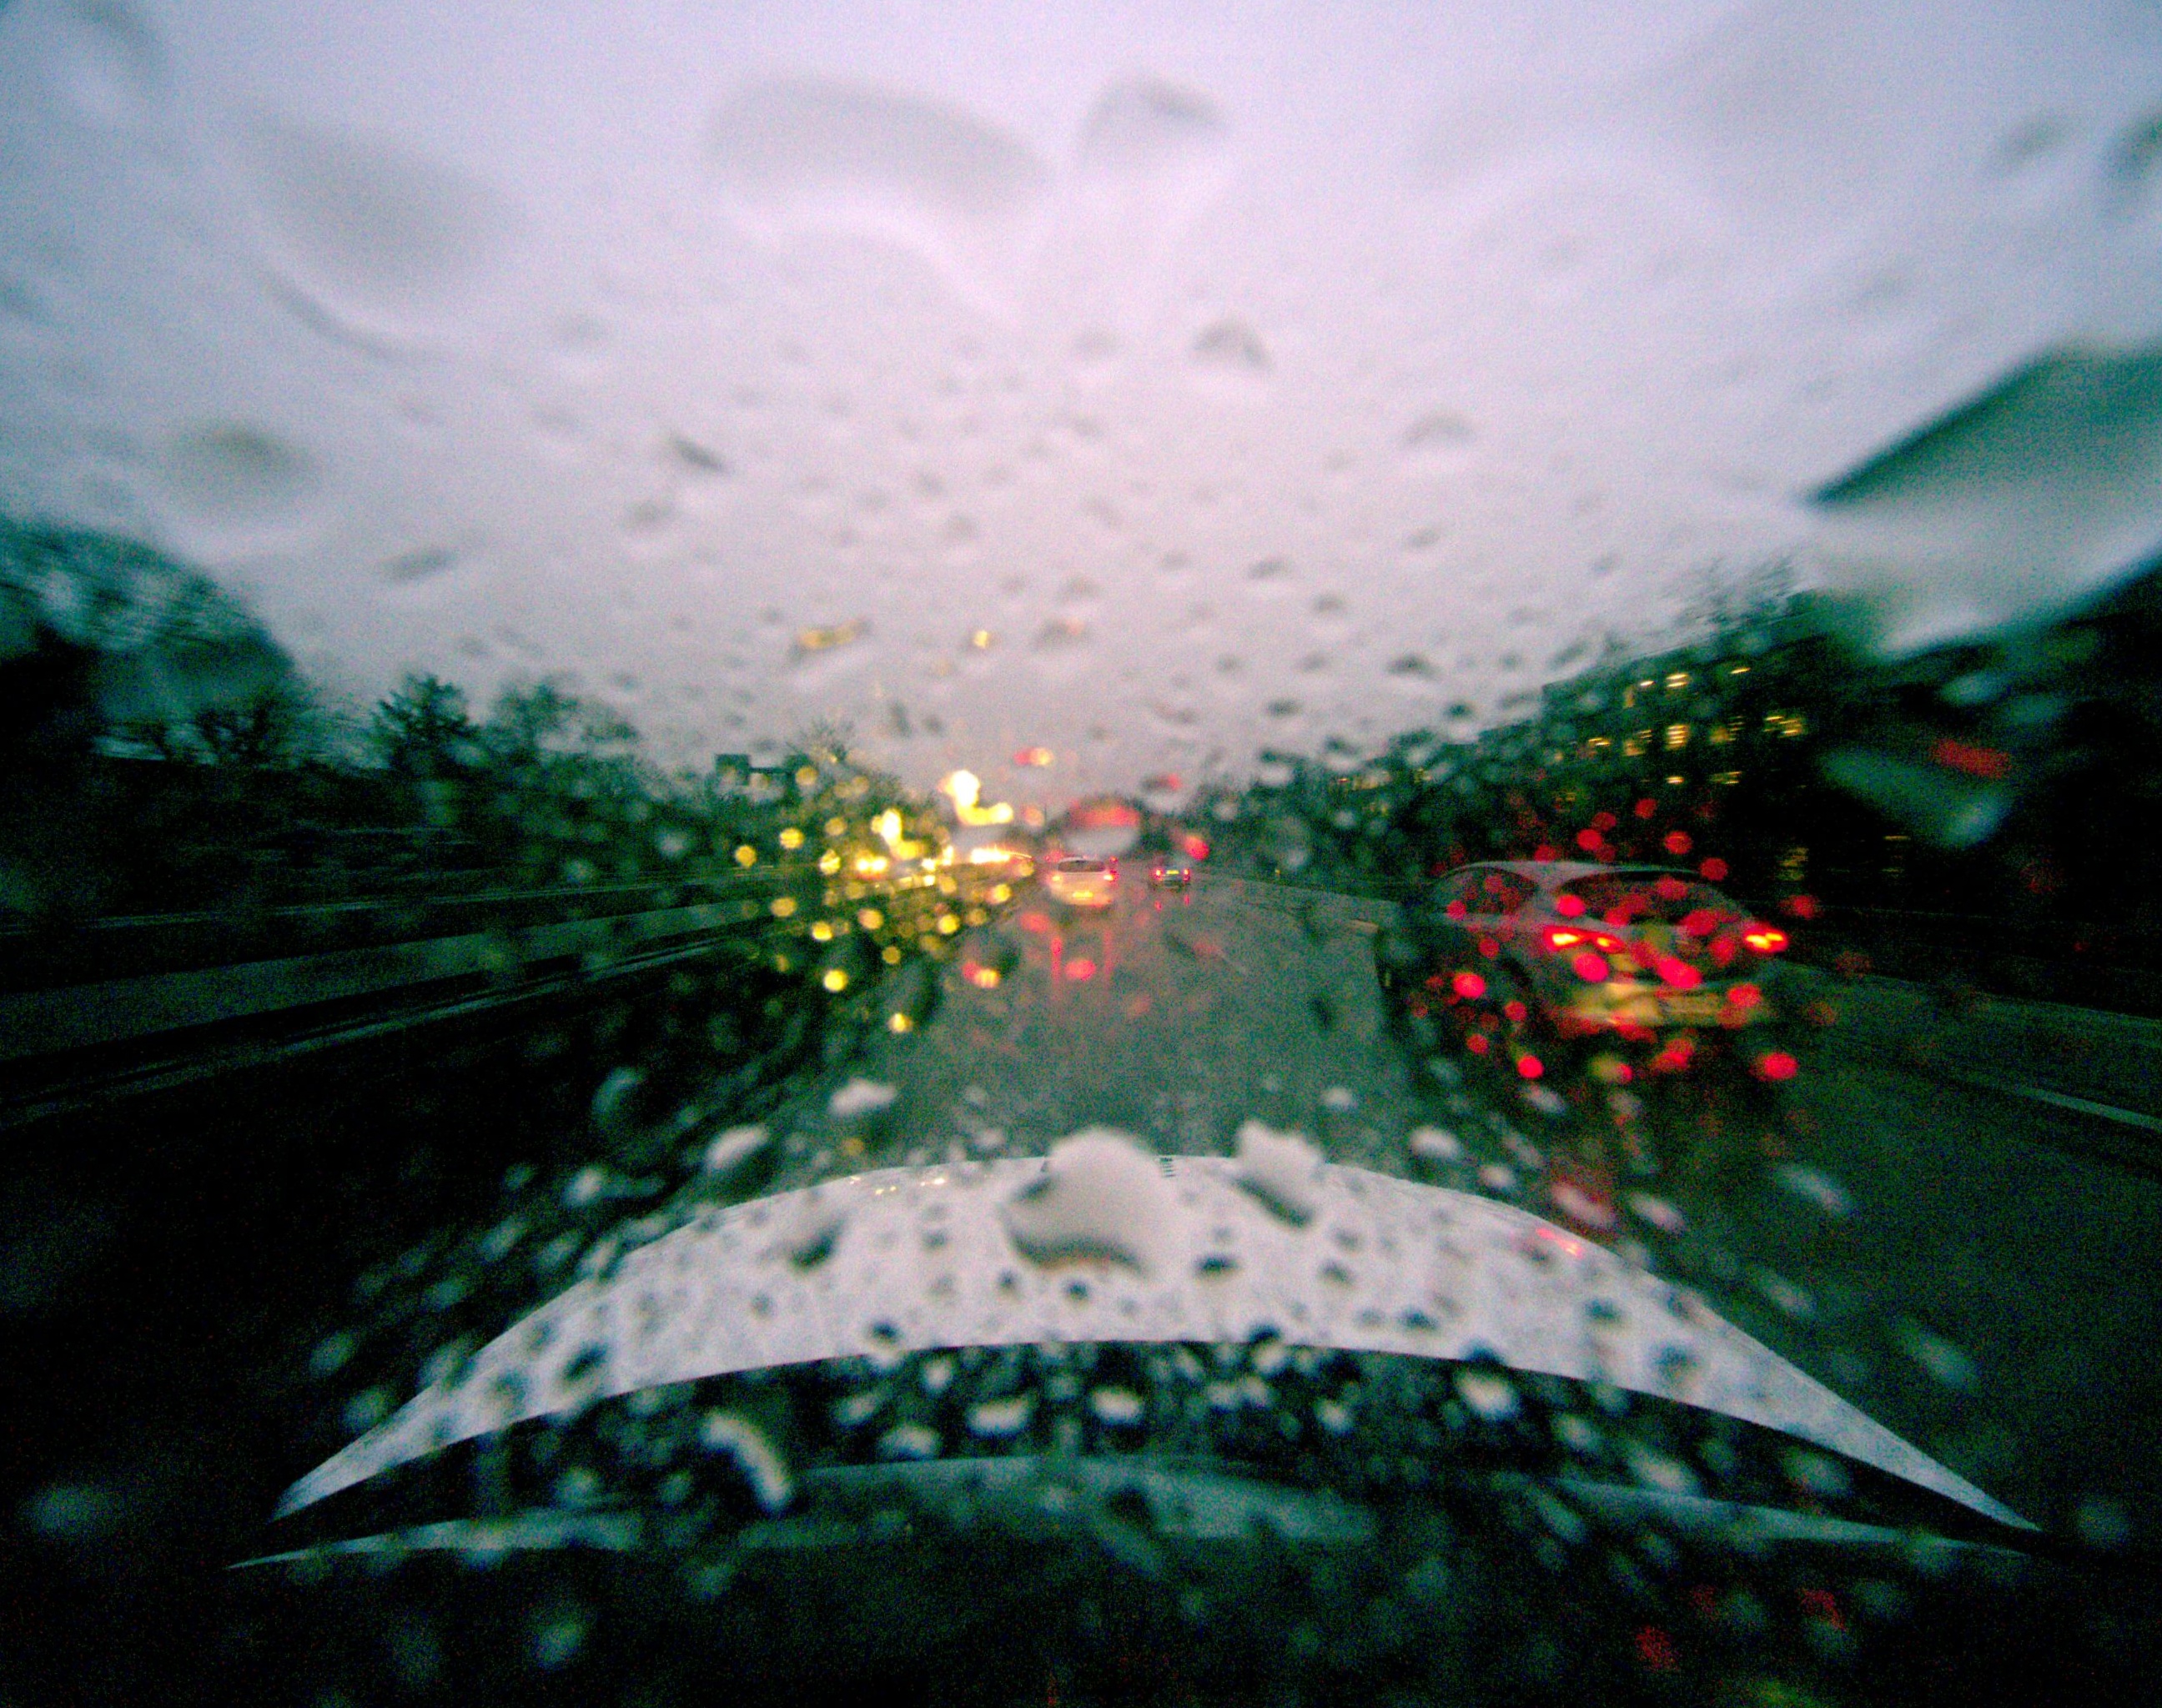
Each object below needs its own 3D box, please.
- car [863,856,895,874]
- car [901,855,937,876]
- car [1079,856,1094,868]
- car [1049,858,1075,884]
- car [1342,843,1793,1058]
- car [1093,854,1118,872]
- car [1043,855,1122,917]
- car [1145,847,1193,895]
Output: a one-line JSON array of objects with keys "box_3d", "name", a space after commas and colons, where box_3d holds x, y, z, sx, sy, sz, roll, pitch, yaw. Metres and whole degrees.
[{"box_3d": [-18.775, 0.989, 75.772, 1.831, 1.556, 4.354, 0, 0, 0], "name": "car"}, {"box_3d": [-11.982, 0.824, 60.598, 1.832, 1.556, 4.353, 0, 0, -1], "name": "car"}, {"box_3d": [0.659, 1.000, 102.526, 1.926, 1.546, 3.772, 0, 0, -1], "name": "car"}, {"box_3d": [-1.497, 1.303, 64.531, 1.988, 2.013, 3.997, 0, 0, -2], "name": "car"}, {"box_3d": [4.109, 0.682, 7.859, 1.843, 1.501, 4.262, 0, 0, 0], "name": "car"}, {"box_3d": [2.330, 0.920, 79.814, 1.929, 1.546, 3.767, -6, -1, -4], "name": "car"}, {"box_3d": [0.066, 0.823, 22.934, 2.018, 1.575, 4.000, 0, 0, 0], "name": "car"}, {"box_3d": [3.912, 0.729, 36.617, 1.924, 2.019, 3.776, 0, 0, 3], "name": "car"}]
